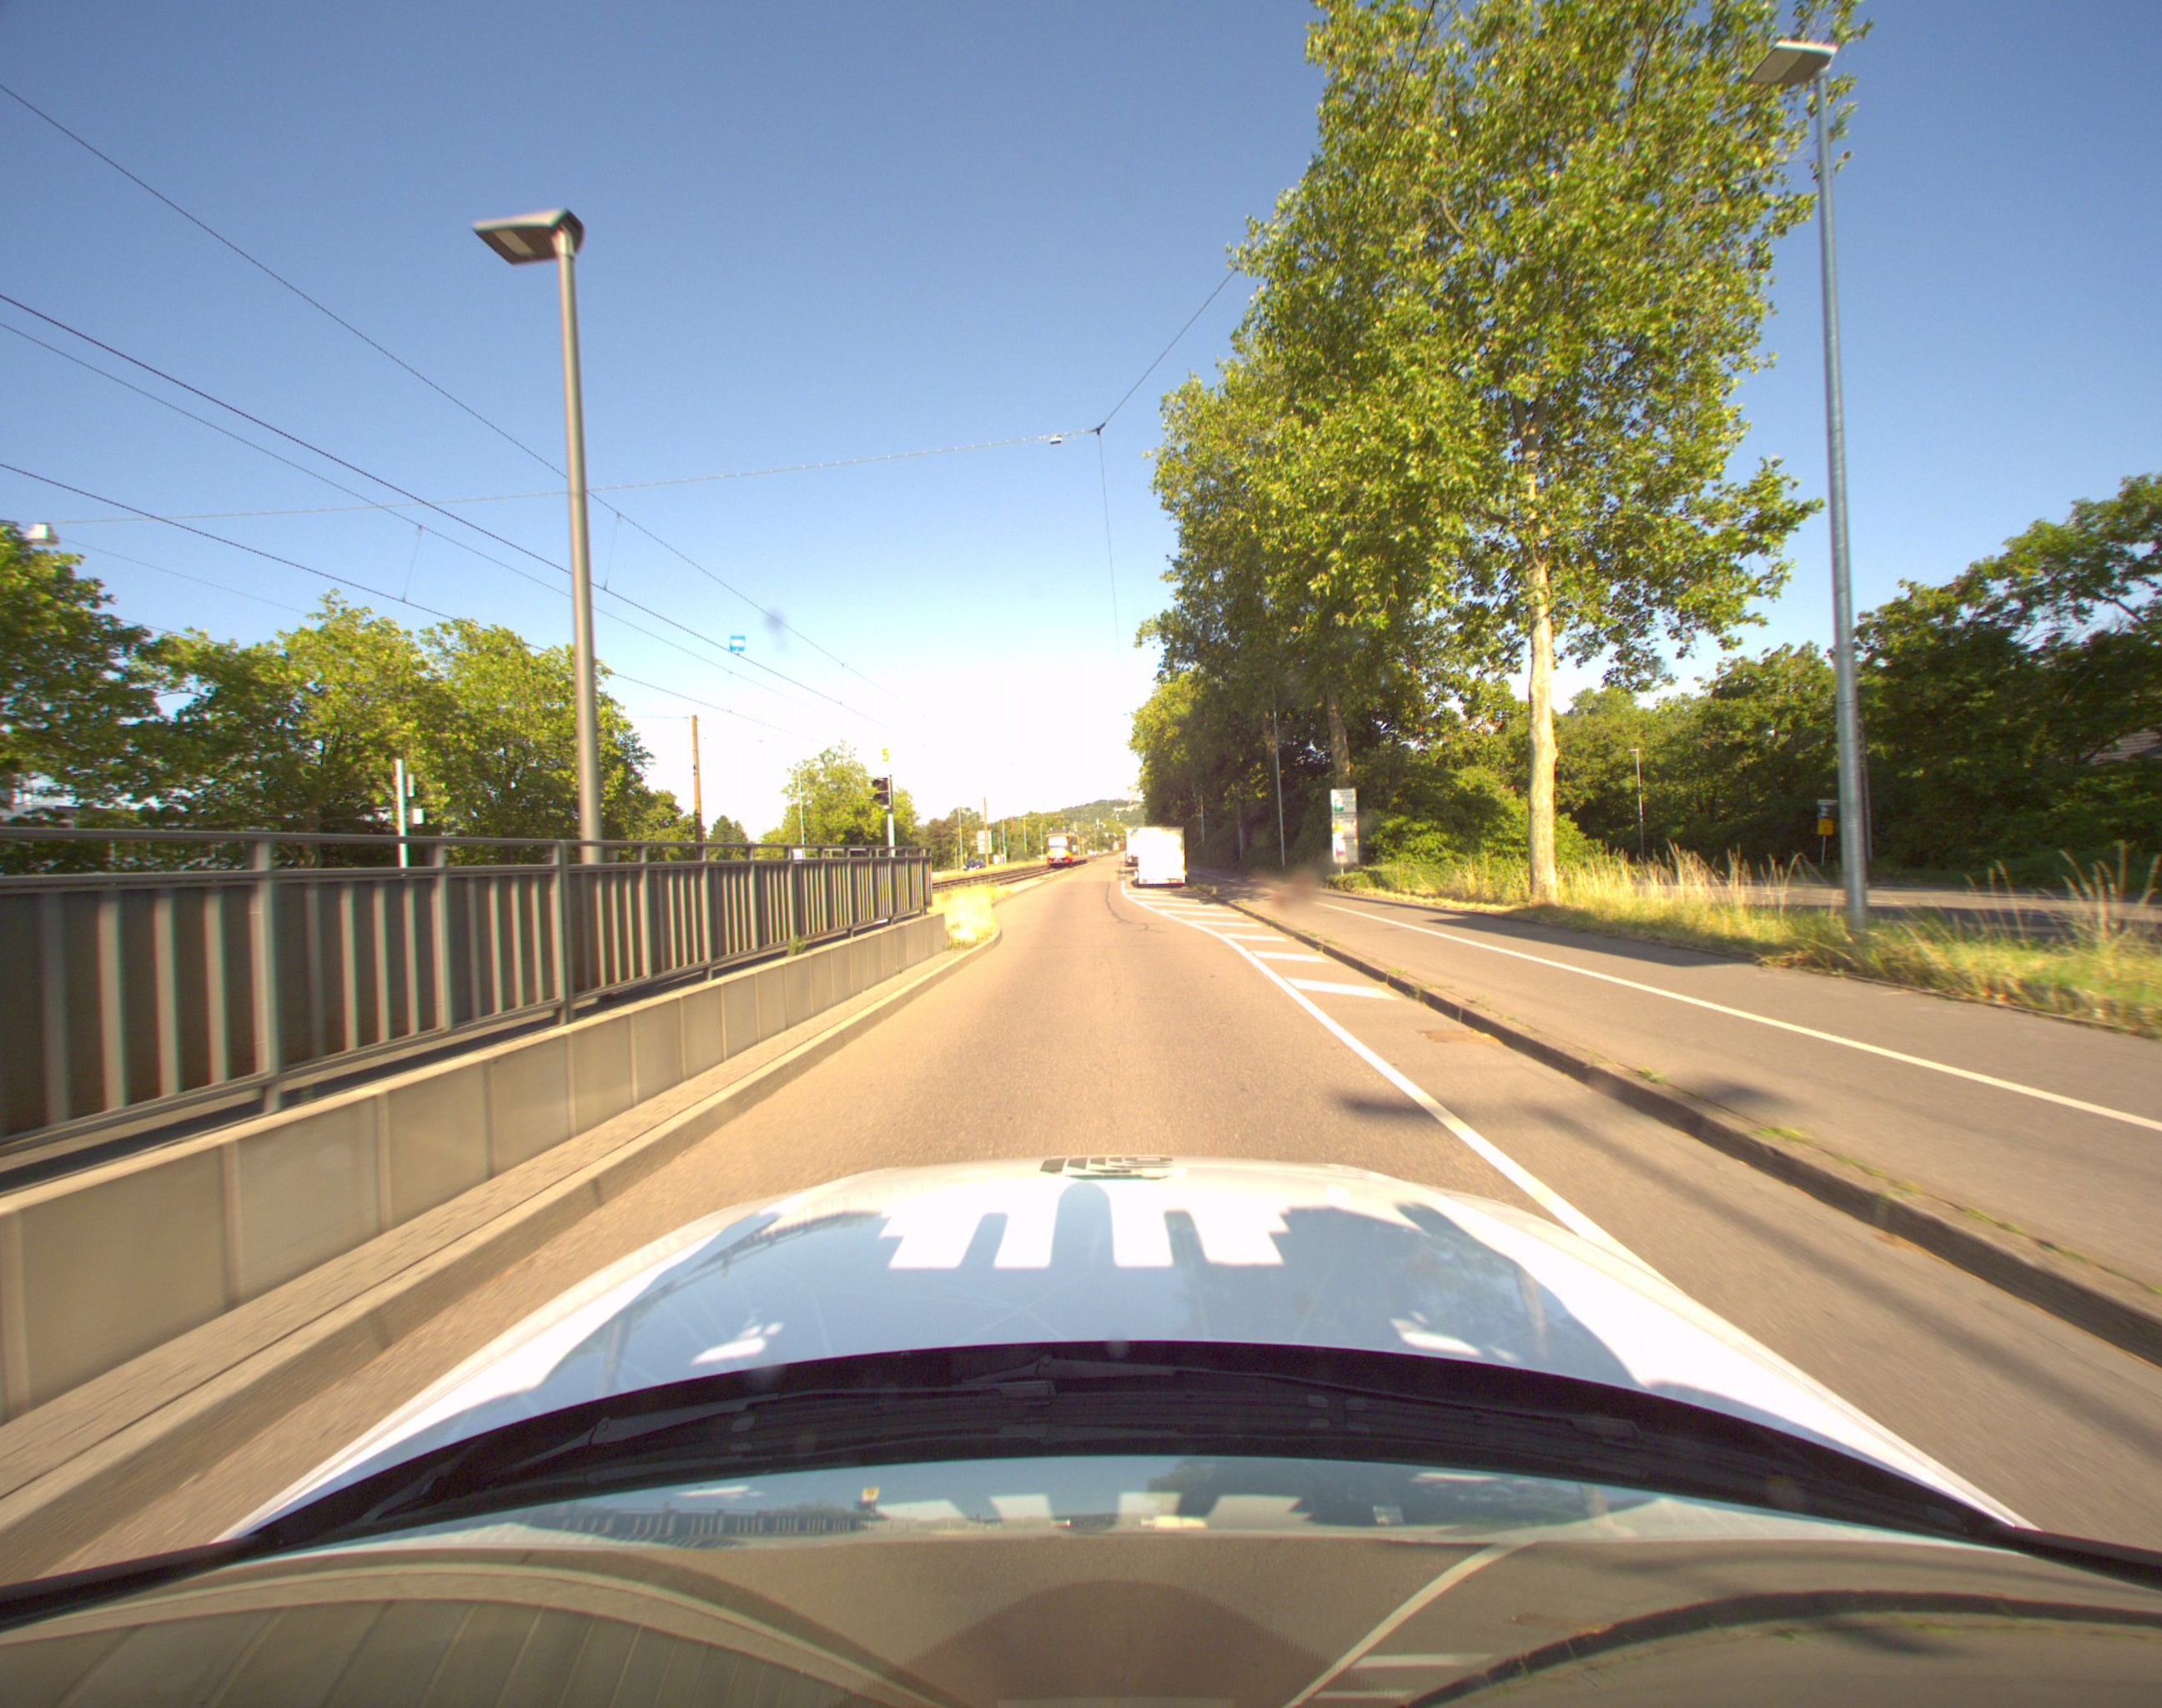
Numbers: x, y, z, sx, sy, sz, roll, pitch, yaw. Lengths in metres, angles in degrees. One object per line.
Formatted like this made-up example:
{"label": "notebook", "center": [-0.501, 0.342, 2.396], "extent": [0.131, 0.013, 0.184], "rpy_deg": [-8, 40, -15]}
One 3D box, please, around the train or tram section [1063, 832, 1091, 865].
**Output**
{"label": "train or tram section", "center": [-0.453, -0.732, 109.485], "extent": [2.708, 4.088, 12.824], "rpy_deg": [-3, 0, 3]}

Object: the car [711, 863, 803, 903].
{"label": "car", "center": [-14.317, 1.221, 36.305], "extent": [1.985, 1.561, 4.548], "rpy_deg": [-2, 0, 3]}

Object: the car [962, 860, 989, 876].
{"label": "car", "center": [-10.910, 1.444, 84.512], "extent": [1.765, 1.425, 4.494], "rpy_deg": [-3, 0, 4]}

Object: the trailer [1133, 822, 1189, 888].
{"label": "trailer", "center": [3.674, 0.019, 37.035], "extent": [2.240, 2.694, 5.957], "rpy_deg": [-2, 0, 6]}

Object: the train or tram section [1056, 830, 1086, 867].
{"label": "train or tram section", "center": [-1.105, -0.611, 98.152], "extent": [2.683, 4.088, 9.919], "rpy_deg": [-3, 0, 3]}

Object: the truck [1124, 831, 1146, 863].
{"label": "truck", "center": [6.827, -0.856, 104.145], "extent": [2.706, 3.783, 9.768], "rpy_deg": [-1, 0, 3]}

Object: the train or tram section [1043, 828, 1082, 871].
{"label": "train or tram section", "center": [-1.808, -0.493, 86.389], "extent": [2.710, 4.091, 13.628], "rpy_deg": [-3, 0, 3]}

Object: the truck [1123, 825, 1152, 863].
{"label": "truck", "center": [5.828, -0.997, 84.943], "extent": [2.731, 3.783, 10.096], "rpy_deg": [-1, 0, 3]}
